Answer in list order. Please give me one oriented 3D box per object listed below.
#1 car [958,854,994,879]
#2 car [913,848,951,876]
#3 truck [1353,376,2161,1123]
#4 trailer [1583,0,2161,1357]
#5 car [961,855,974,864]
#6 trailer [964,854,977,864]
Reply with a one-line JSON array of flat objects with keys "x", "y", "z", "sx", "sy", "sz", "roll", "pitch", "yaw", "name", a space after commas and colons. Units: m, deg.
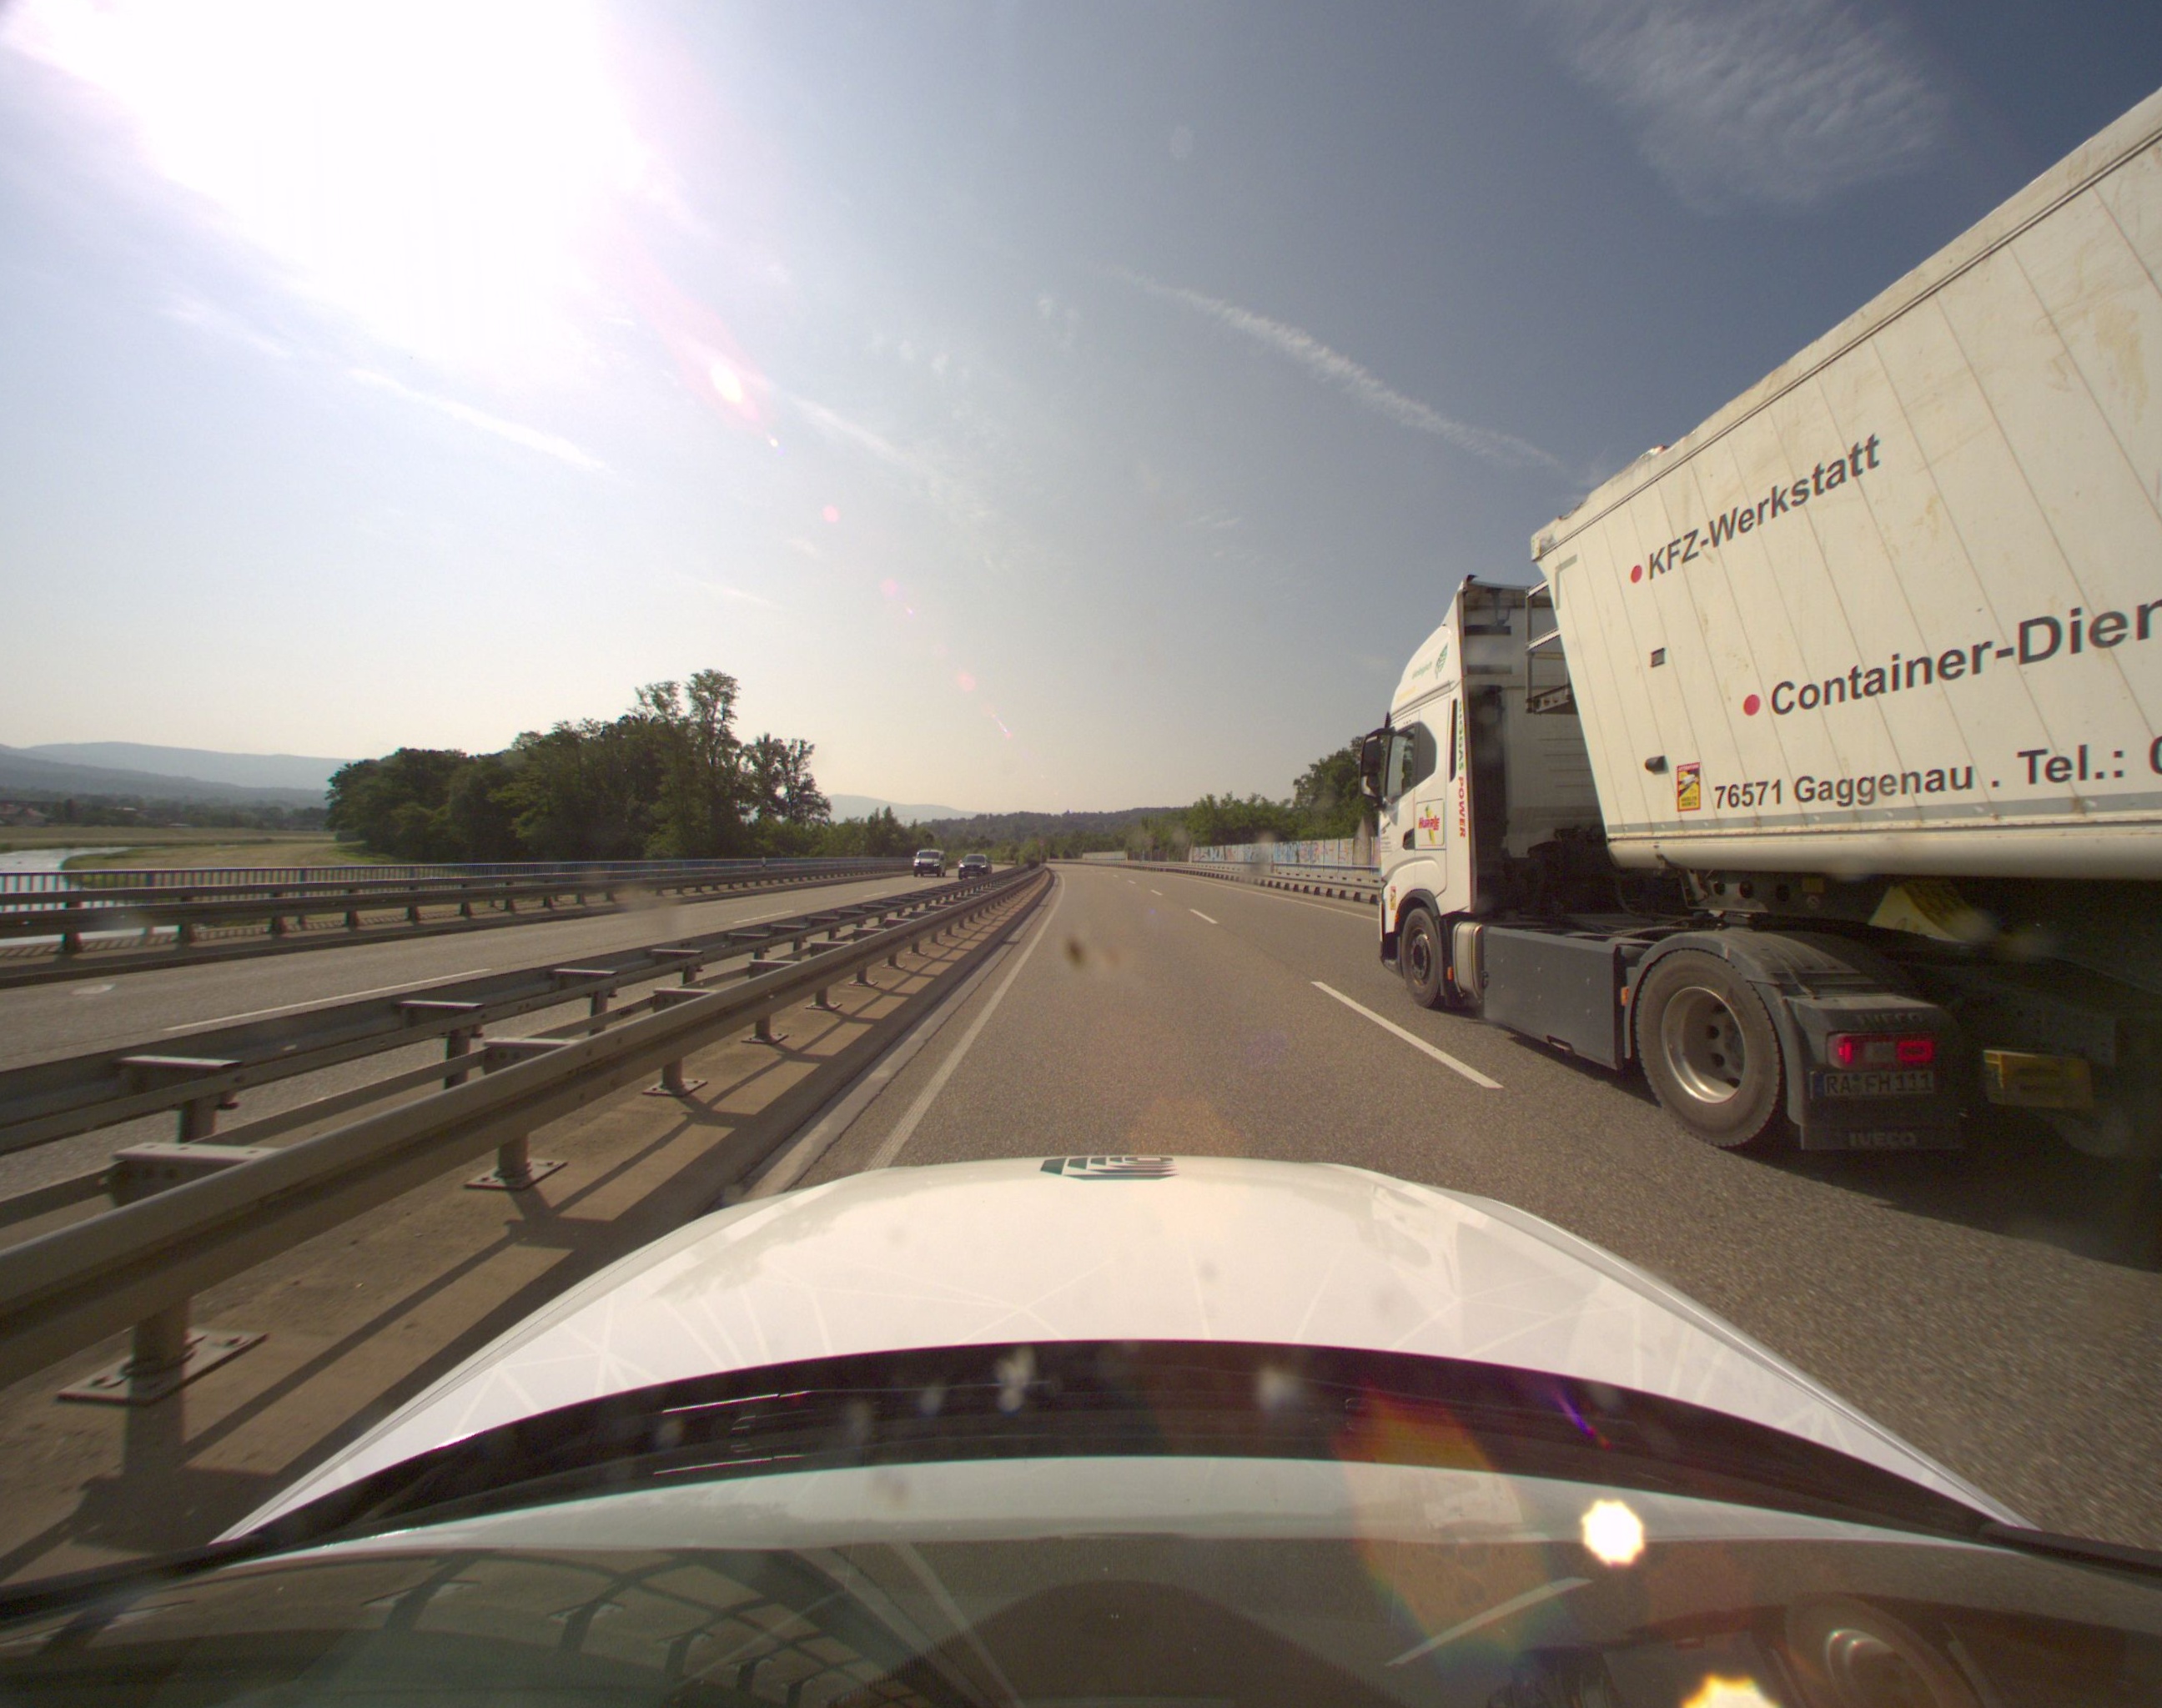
[{"x": -6.938, "y": 0.801, "z": 54.163, "sx": 1.859, "sy": 1.607, "sz": 4.416, "roll": 1, "pitch": 0, "yaw": -1, "name": "car"}, {"x": -10.942, "y": 0.546, "z": 60.117, "sx": 2.034, "sy": 2.006, "sz": 5.301, "roll": 1, "pitch": 0, "yaw": -3, "name": "car"}, {"x": 4.561, "y": -0.536, "z": 7.081, "sx": 2.649, "sy": 3.896, "sz": 5.649, "roll": 0, "pitch": 0, "yaw": 1, "name": "truck"}, {"x": 4.334, "y": -0.521, "z": 0.234, "sx": 2.669, "sy": 3.907, "sz": 9.676, "roll": 0, "pitch": 0, "yaw": 2, "name": "trailer"}, {"x": -19.028, "y": 0.926, "z": 136.836, "sx": 1.720, "sy": 1.596, "sz": 3.995, "roll": 2, "pitch": 0, "yaw": -3, "name": "car"}, {"x": -19.165, "y": 0.908, "z": 141.276, "sx": 1.714, "sy": 1.578, "sz": 4.806, "roll": 1, "pitch": 0, "yaw": -3, "name": "trailer"}]
